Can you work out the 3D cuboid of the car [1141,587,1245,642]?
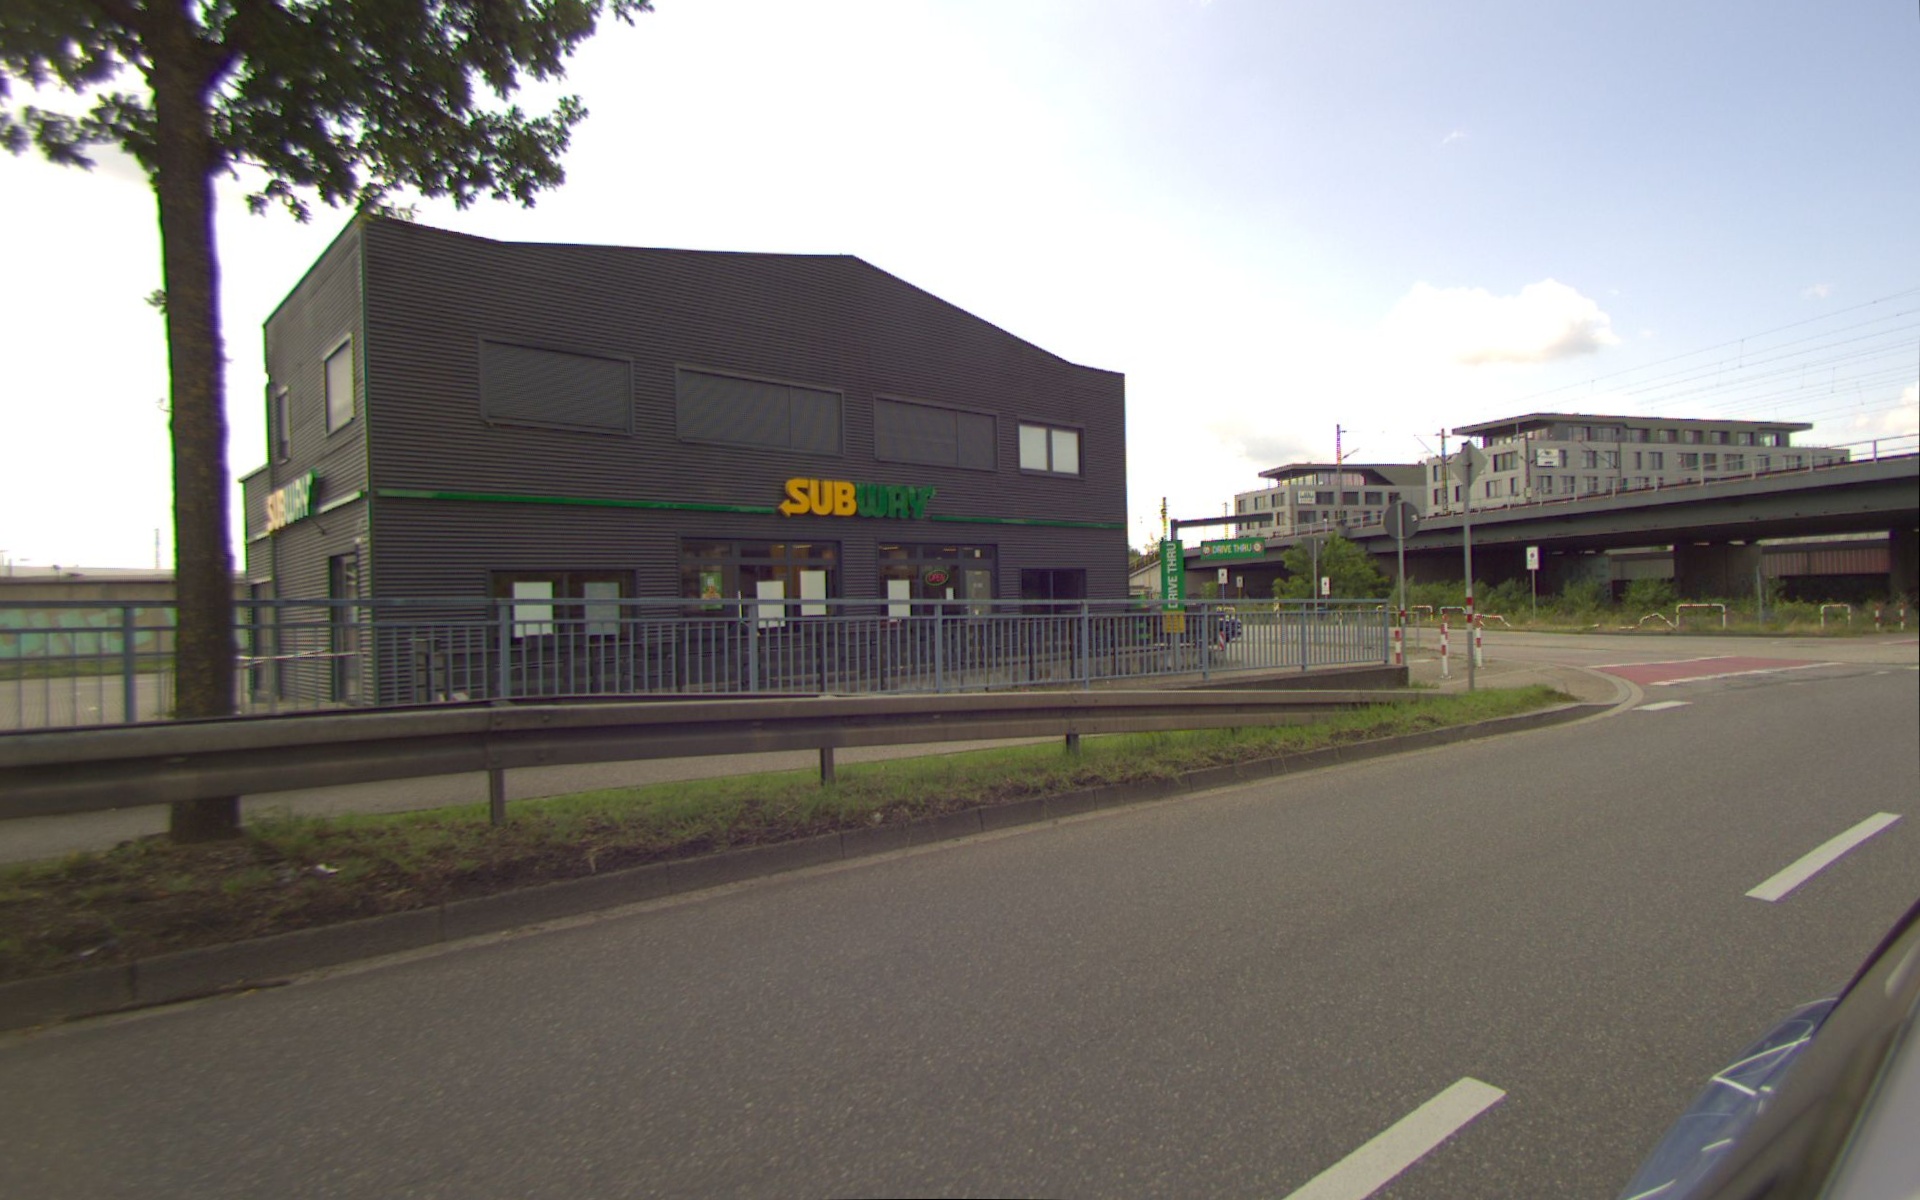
[{"bbox_3d":[9.206,0.565,40.229,1.720,2.039,3.882,-1,0,-32],"label":"car"}]
